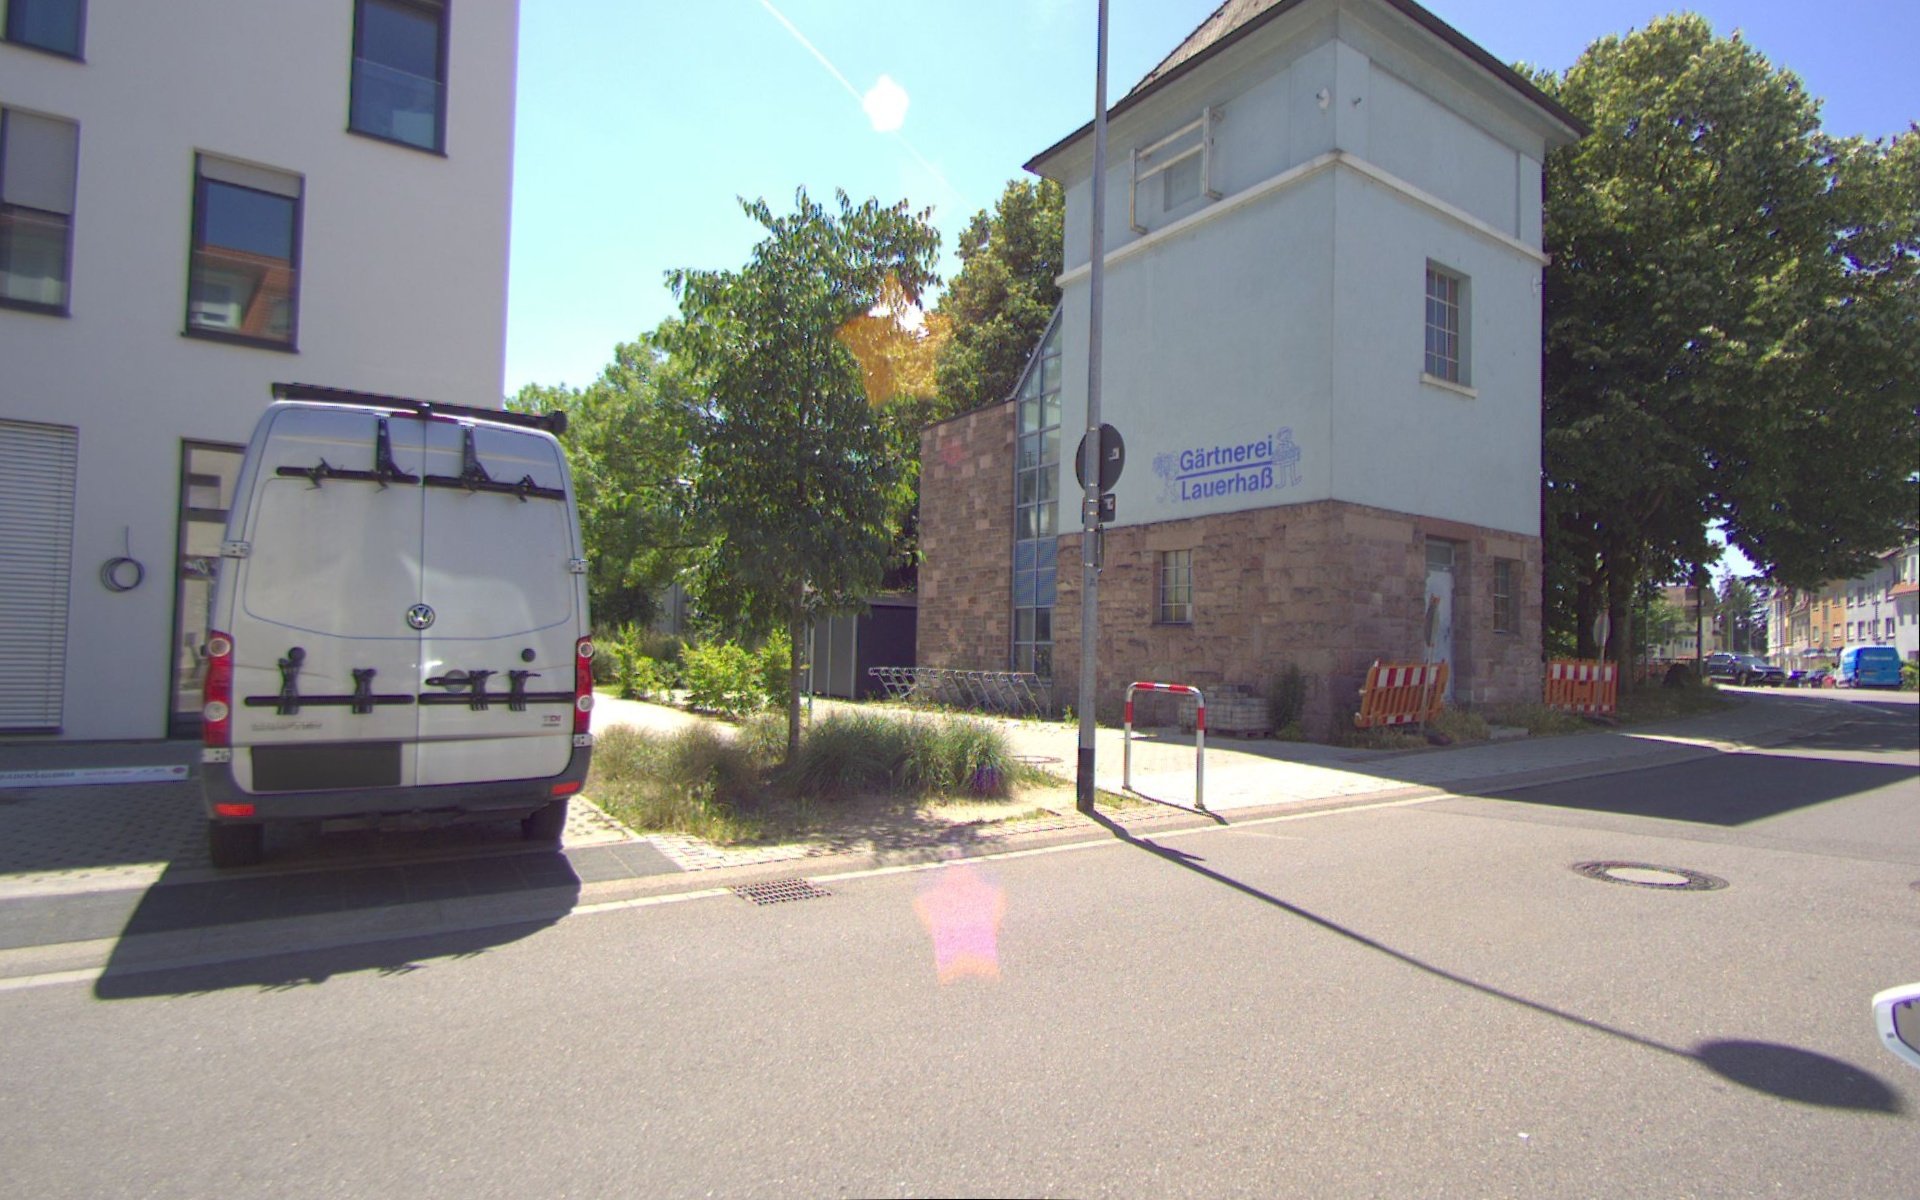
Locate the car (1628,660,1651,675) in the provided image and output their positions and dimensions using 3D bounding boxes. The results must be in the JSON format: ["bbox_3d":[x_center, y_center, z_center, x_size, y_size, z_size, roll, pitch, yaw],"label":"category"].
[{"bbox_3d":[79.780,7.912,117.960,1.965,1.681,3.992,2,-2,32],"label":"car"}]

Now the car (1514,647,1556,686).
[{"bbox_3d":[32.282,3.694,56.440,1.964,2.040,3.994,0,-2,29],"label":"car"}]

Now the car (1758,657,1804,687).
[{"bbox_3d":[59.555,5.182,72.912,1.965,2.040,3.992,1,-2,31],"label":"car"}]

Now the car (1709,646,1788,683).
[{"bbox_3d":[40.672,3.317,51.918,1.712,1.795,4.340,-1,-3,17],"label":"car"}]

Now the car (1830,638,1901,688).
[{"bbox_3d":[49.921,3.469,55.471,2.103,2.574,4.639,0,-3,32],"label":"car"}]

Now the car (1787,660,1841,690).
[{"bbox_3d":[55.447,4.852,65.295,1.965,1.769,4.320,1,-2,31],"label":"car"}]

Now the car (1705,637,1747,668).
[{"bbox_3d":[61.902,4.221,81.270,2.212,2.374,4.843,0,-2,31],"label":"car"}]

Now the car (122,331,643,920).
[{"bbox_3d":[-4.382,0.164,7.773,2.266,2.768,5.737,3,-1,-31],"label":"car"}]

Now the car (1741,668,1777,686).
[{"bbox_3d":[71.743,6.873,90.276,1.965,1.410,4.320,0,-2,31],"label":"car"}]
